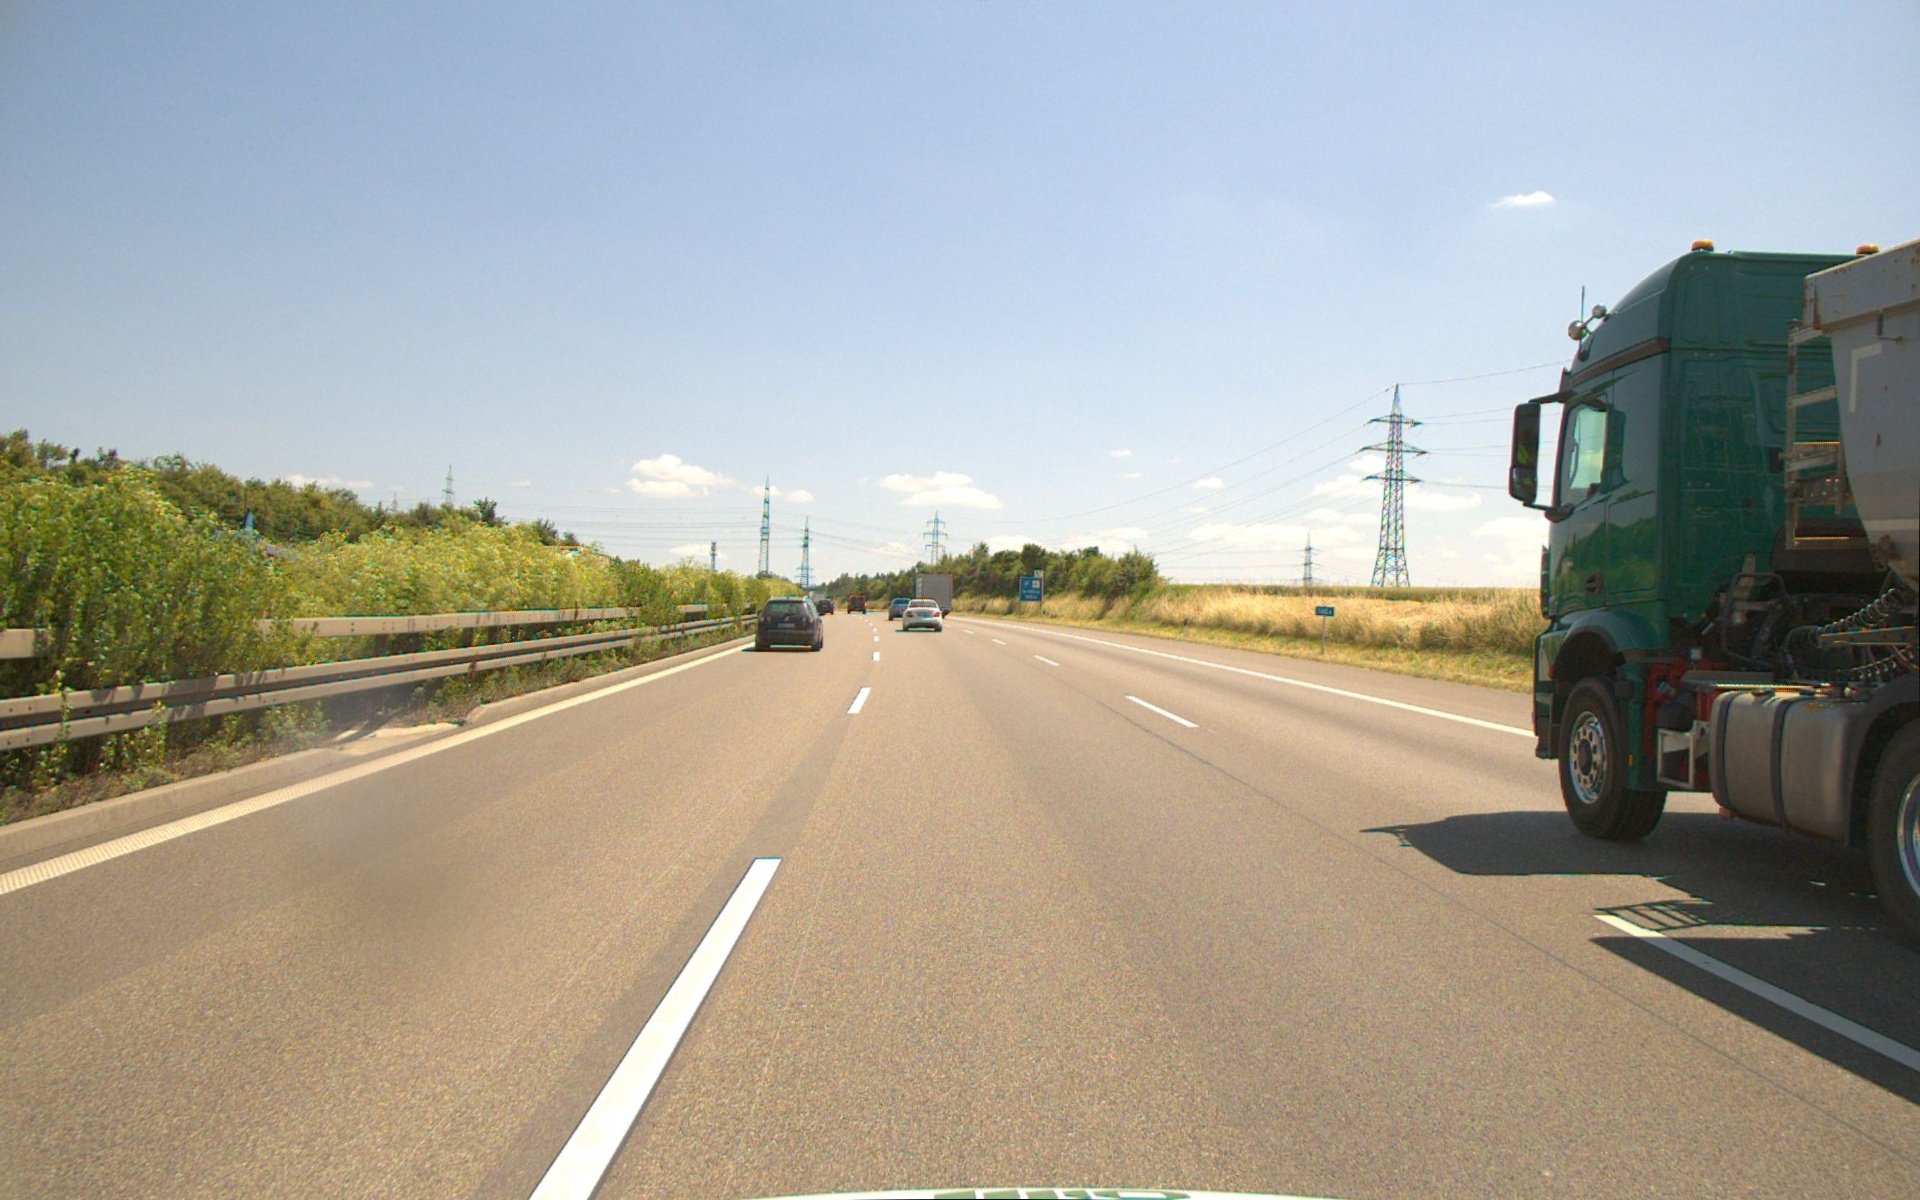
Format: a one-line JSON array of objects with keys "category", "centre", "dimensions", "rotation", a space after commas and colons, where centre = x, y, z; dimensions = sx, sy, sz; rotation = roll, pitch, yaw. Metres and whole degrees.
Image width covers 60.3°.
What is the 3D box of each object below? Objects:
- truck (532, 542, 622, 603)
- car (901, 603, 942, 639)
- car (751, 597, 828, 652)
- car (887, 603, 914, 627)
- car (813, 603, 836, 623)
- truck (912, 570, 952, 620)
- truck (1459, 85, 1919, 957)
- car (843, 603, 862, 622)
[{"category": "truck", "centre": [-24.246, -1.599, 105.715], "dimensions": [2.620, 3.580, 17.028], "rotation": [1, 0, -3]}, {"category": "car", "centre": [-1.783, 0.945, 75.597], "dimensions": [1.783, 1.568, 3.912], "rotation": [1, 0, -3]}, {"category": "car", "centre": [-4.707, 0.667, 46.140], "dimensions": [1.720, 1.454, 4.000], "rotation": [1, 0, 0]}, {"category": "car", "centre": [-4.151, 1.037, 115.708], "dimensions": [1.802, 1.568, 3.913], "rotation": [1, 0, -2]}, {"category": "car", "centre": [-12.839, 1.239, 156.964], "dimensions": [1.953, 1.892, 3.999], "rotation": [1, 0, -2]}, {"category": "truck", "centre": [-2.426, -0.352, 139.126], "dimensions": [3.156, 3.993, 9.057], "rotation": [1, -1, -2]}, {"category": "truck", "centre": [5.580, -0.337, 6.844], "dimensions": [2.807, 3.789, 12.758], "rotation": [1, 0, -2]}, {"category": "car", "centre": [-11.224, 1.313, 172.343], "dimensions": [1.865, 1.959, 3.995], "rotation": [1, 0, -6]}]
